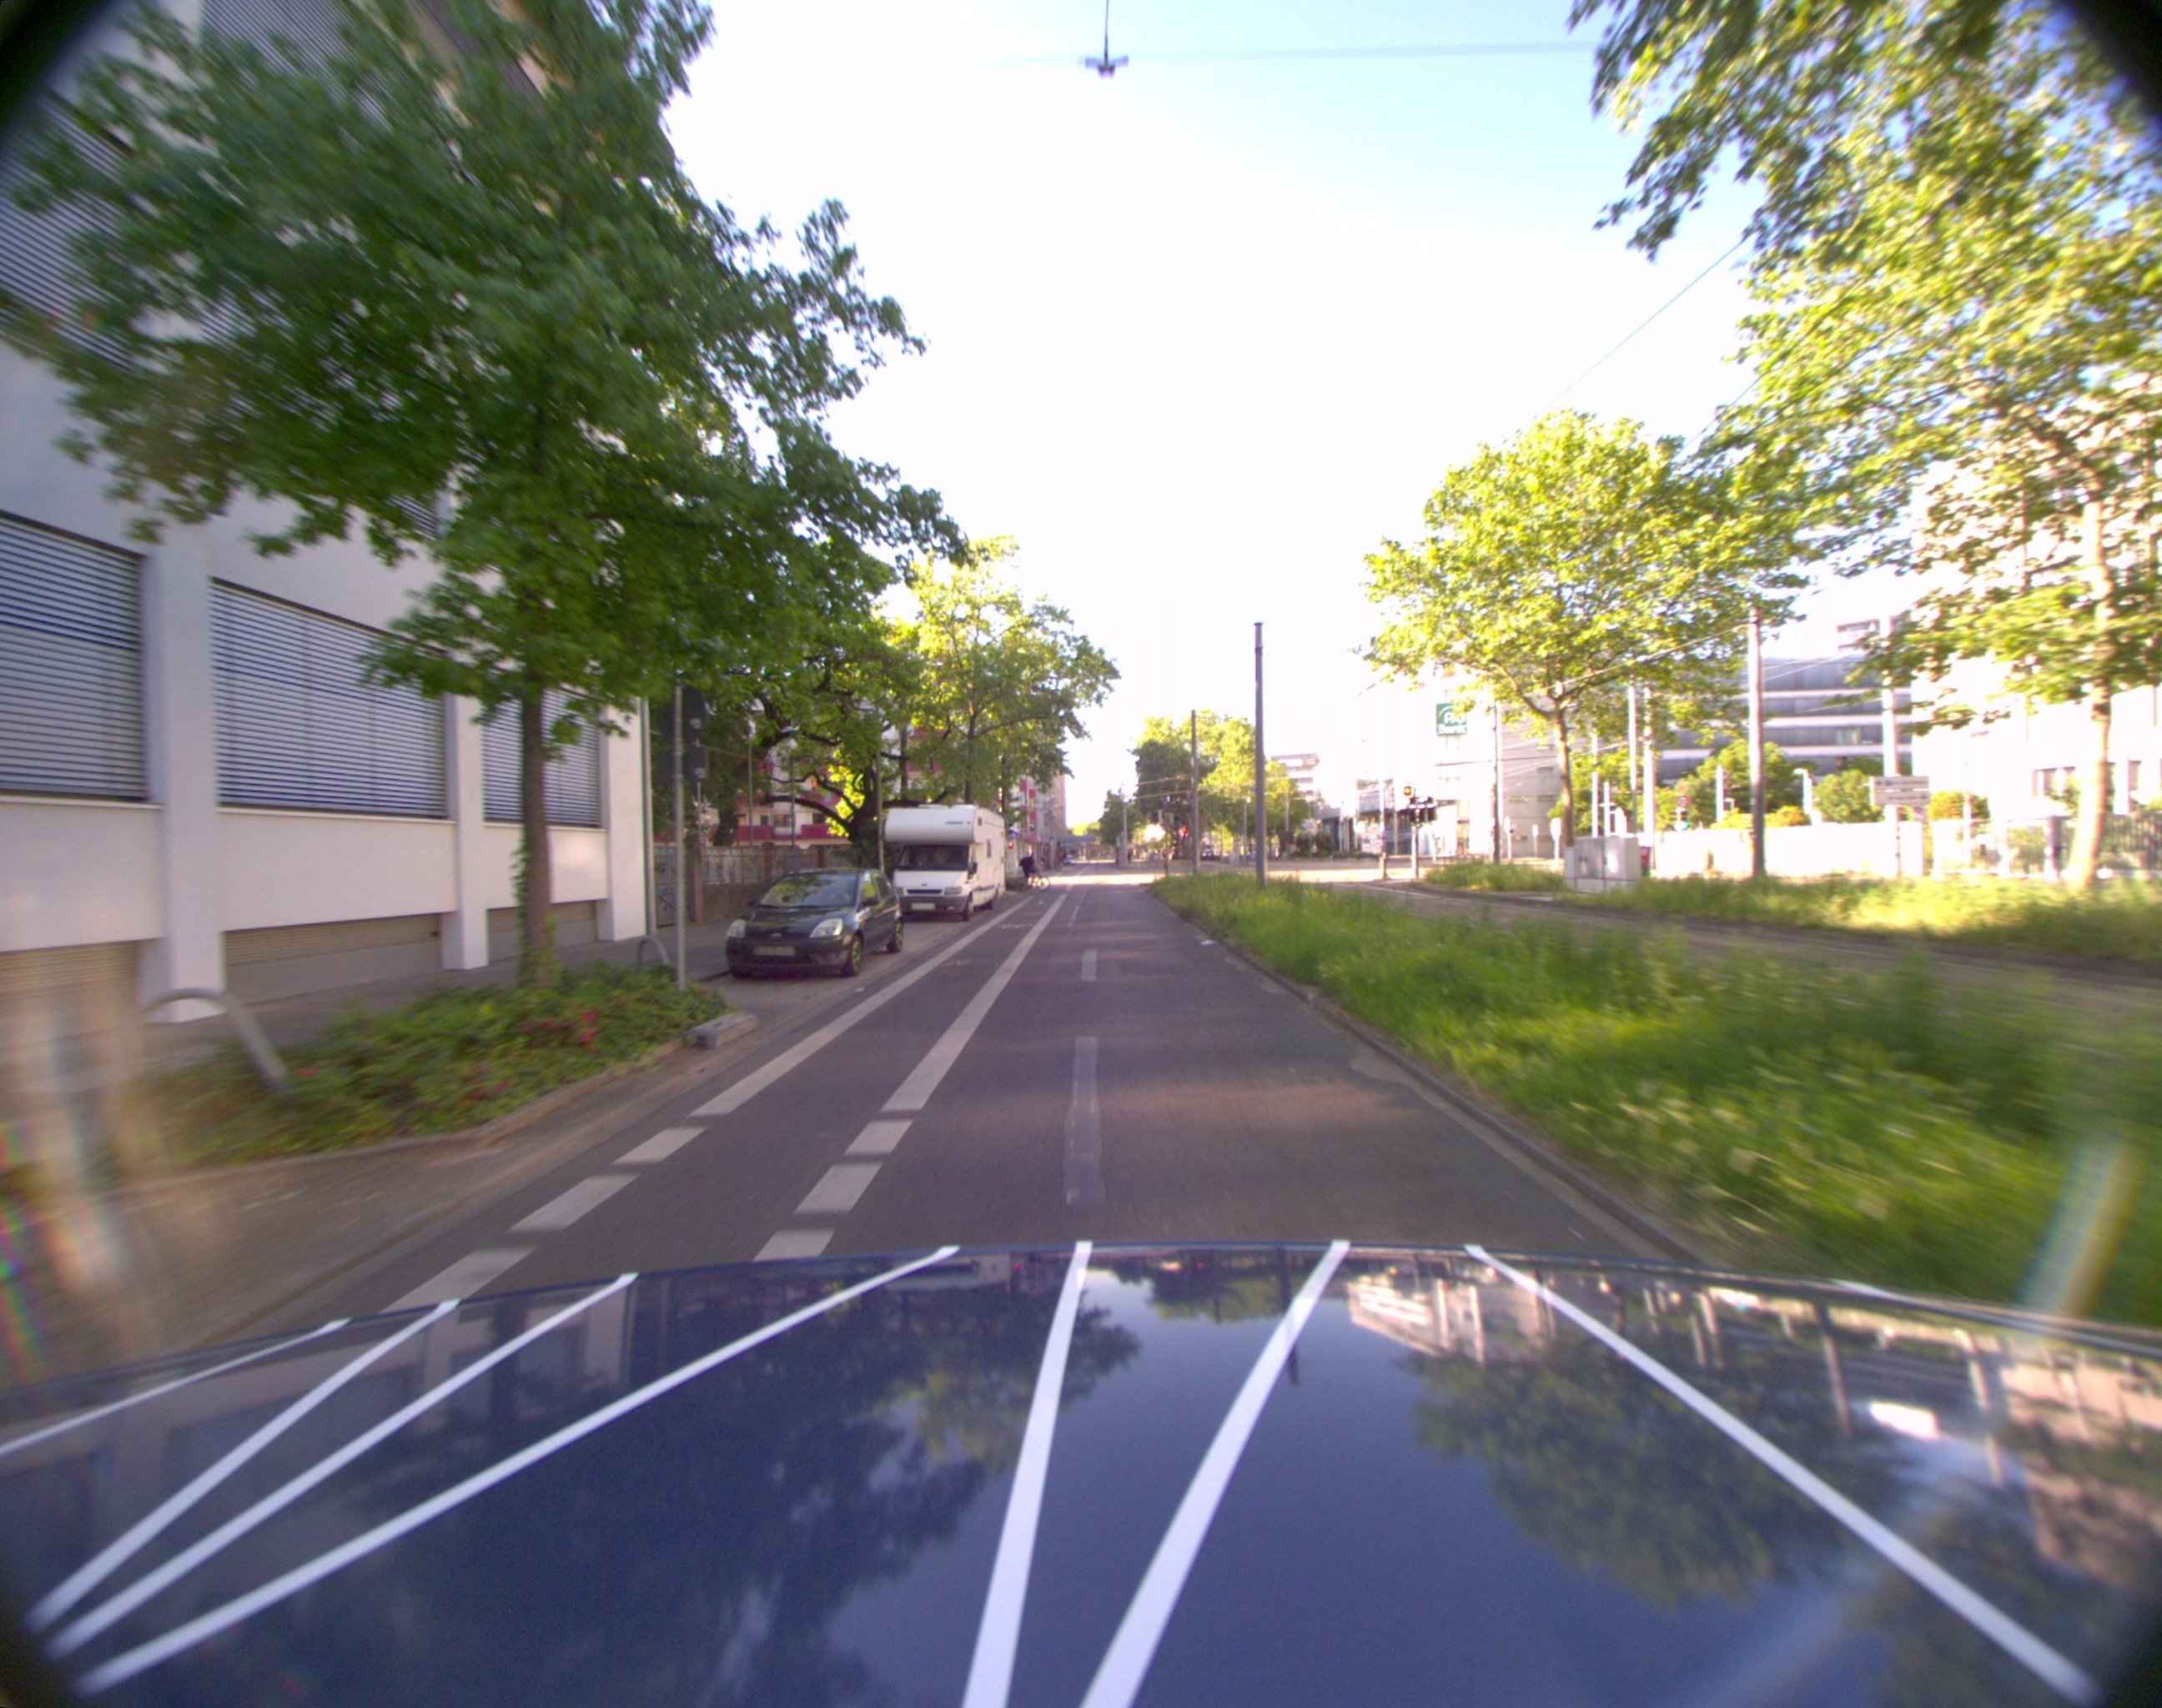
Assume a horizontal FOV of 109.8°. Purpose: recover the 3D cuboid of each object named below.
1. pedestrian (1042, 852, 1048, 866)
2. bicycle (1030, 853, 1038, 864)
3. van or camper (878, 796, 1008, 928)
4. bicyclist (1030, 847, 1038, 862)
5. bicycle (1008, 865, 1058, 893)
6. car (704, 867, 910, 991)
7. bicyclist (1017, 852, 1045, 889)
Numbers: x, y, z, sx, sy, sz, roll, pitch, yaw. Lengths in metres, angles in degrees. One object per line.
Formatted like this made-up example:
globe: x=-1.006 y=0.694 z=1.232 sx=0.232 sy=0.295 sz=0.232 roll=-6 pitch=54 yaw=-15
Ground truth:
pedestrian: x=-4.486 y=0.655 z=95.712 sx=0.621 sy=1.771 sz=0.686 roll=-2 pitch=1 yaw=1
bicycle: x=-4.184 y=0.389 z=67.779 sx=0.566 sy=0.872 sz=1.718 roll=-2 pitch=1 yaw=1
van or camper: x=-3.564 y=0.161 z=21.328 sx=2.172 sy=3.075 sz=7.289 roll=0 pitch=0 yaw=1
bicyclist: x=-4.198 y=0.017 z=67.754 sx=0.550 sy=1.333 sz=0.616 roll=-2 pitch=1 yaw=1
bicycle: x=-2.162 y=1.109 z=34.086 sx=2.087 sy=1.122 sz=0.758 roll=-2 pitch=1 yaw=-29
car: x=-3.805 y=0.962 z=11.268 sx=1.656 sy=1.439 sz=3.800 roll=0 pitch=0 yaw=0
bicyclist: x=-2.238 y=0.729 z=34.040 sx=1.009 sy=1.567 sz=0.758 roll=-3 pitch=1 yaw=-29
